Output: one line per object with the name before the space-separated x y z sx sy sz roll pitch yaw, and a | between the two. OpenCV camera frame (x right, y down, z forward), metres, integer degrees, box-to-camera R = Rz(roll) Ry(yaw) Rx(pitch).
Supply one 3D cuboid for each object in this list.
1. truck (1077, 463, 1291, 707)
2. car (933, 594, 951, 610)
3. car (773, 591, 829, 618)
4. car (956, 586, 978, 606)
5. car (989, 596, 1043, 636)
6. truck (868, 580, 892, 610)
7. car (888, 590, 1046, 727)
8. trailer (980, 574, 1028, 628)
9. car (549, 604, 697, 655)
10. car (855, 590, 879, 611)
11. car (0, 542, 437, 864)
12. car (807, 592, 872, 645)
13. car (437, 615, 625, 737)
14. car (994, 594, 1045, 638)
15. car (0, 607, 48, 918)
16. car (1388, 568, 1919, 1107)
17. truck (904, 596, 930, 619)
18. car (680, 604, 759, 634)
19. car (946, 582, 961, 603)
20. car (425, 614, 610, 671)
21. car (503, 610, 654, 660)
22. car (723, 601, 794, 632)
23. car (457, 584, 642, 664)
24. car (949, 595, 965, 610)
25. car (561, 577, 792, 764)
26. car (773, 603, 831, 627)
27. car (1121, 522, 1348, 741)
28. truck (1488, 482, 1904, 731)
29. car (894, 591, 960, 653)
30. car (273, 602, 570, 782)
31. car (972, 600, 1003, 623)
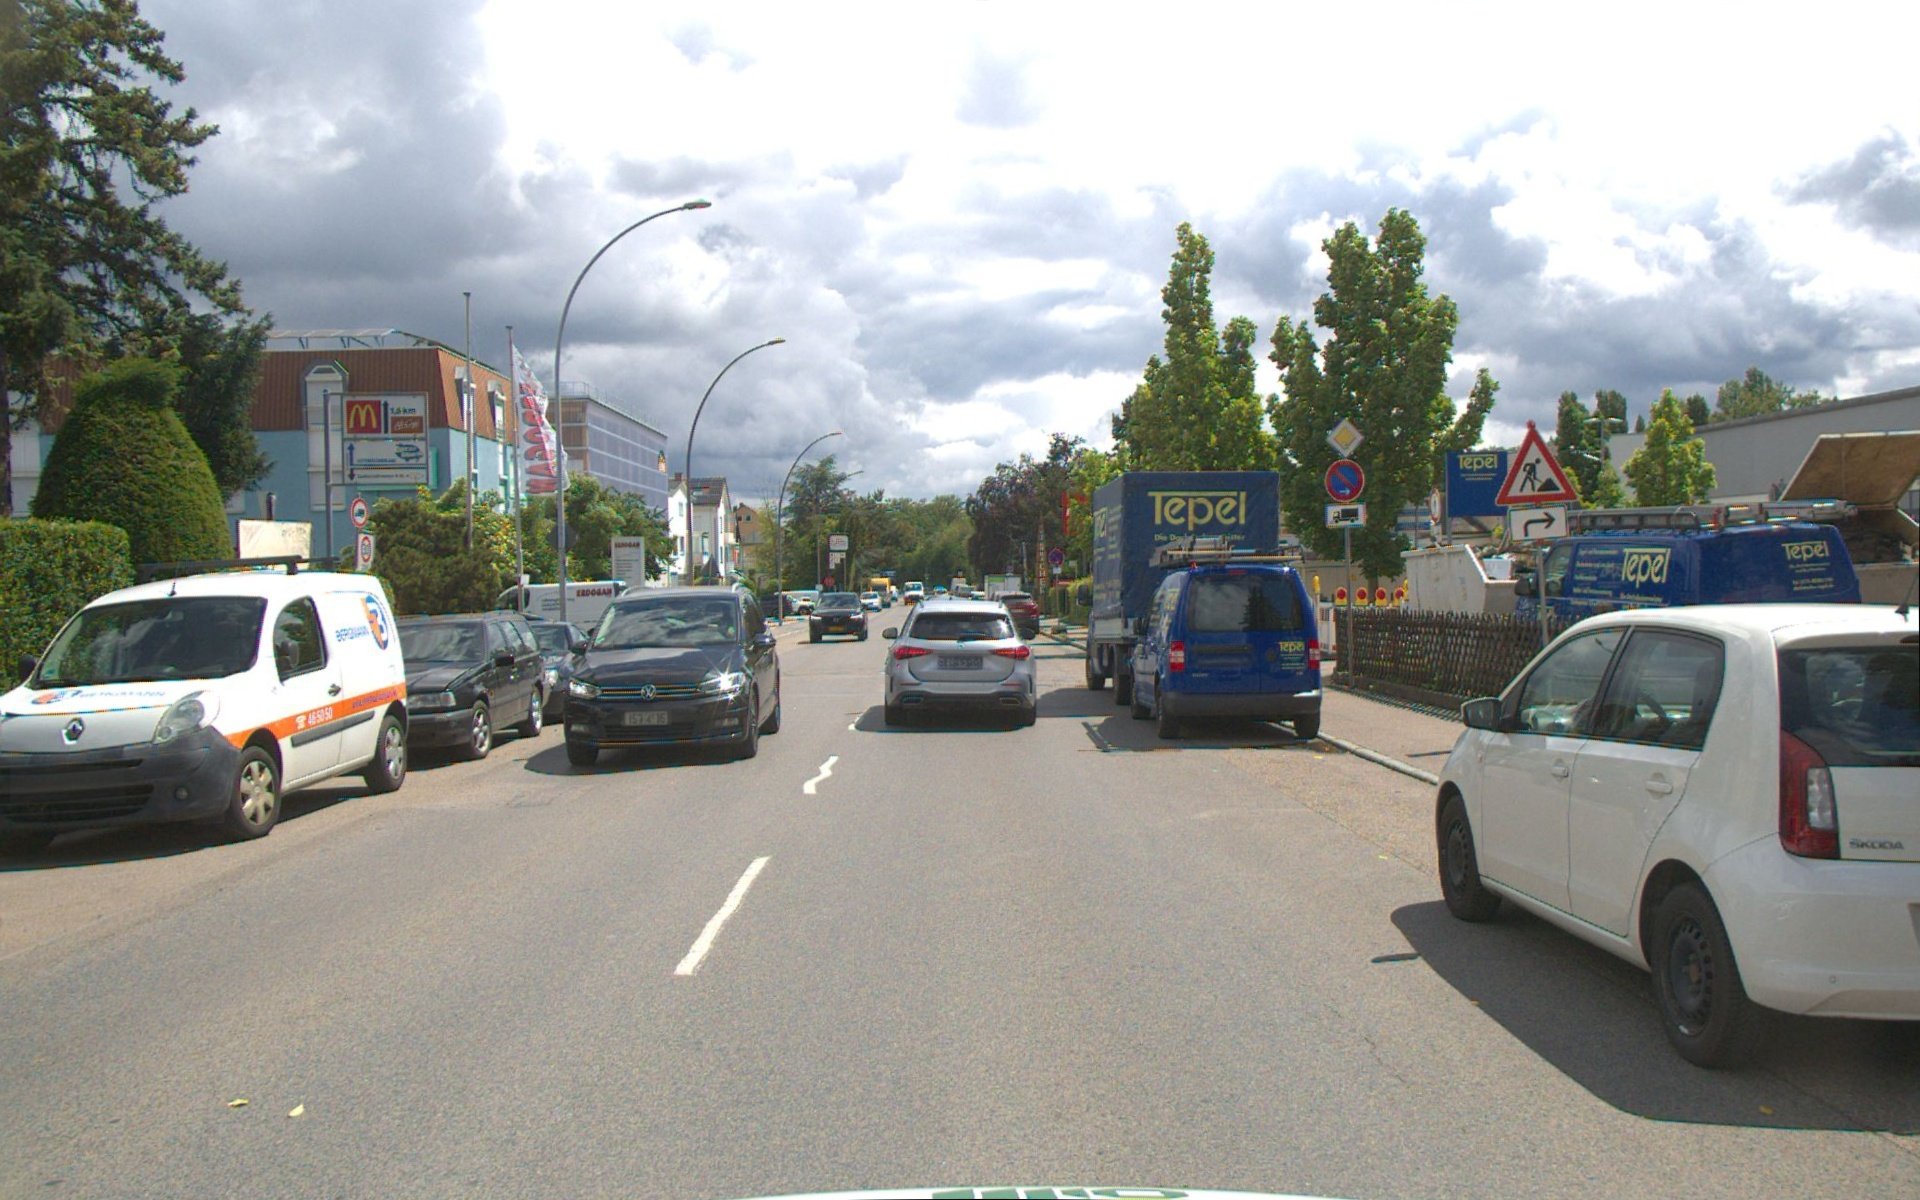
truck | 3.129 -0.215 24.544 2.273 3.151 6.041 1 0 -1
car | -1.821 0.169 168.956 1.720 1.585 3.999 -1 0 -2
car | -12.459 0.378 129.934 4.193 1.868 1.990 -2 -3 -2
car | 0.706 -0.391 170.729 2.100 2.018 5.260 -2 0 0
car | 2.330 0.648 69.776 1.903 1.599 4.443 -2 0 -3
truck | -8.153 -0.530 169.105 2.032 2.863 7.078 -2 1 0
car | -0.014 0.636 20.539 1.749 1.510 4.314 0 0 -3
trailer | 2.000 0.045 76.215 1.902 2.334 4.443 -2 0 -2
car | -10.709 0.933 52.777 4.285 1.504 1.871 -1 -1 -1
car | -7.620 0.042 135.351 1.755 1.631 4.362 -2 0 -1
car | -5.459 0.625 12.385 1.709 1.870 4.354 -4 1 -2
car | -4.103 0.601 56.749 1.953 1.644 4.410 -2 0 -2
car | -5.737 0.958 22.596 1.598 1.326 4.114 -4 1 -3
car | 2.309 0.606 64.846 1.901 1.599 4.446 -2 0 1
car | -5.473 0.871 6.469 1.607 1.512 3.998 -4 1 -2
car | 3.211 0.662 6.834 1.737 1.534 3.999 -2 0 -1
truck | -4.317 0.718 167.239 2.271 2.216 6.450 -2 0 1
car | -12.902 0.998 88.948 4.068 1.518 1.824 1 0 -5
car | -0.812 -0.901 208.077 1.749 2.562 4.314 0 0 -3
car | -10.461 0.992 39.348 3.907 1.225 1.871 1 0 -3
car | -10.979 0.999 47.787 3.907 1.338 1.870 -1 -1 -2
car | -13.644 1.106 112.065 4.537 1.661 2.196 -4 1 -4
car | -11.122 0.628 45.109 4.560 2.006 2.114 -1 0 -4
car | -0.326 0.321 196.140 1.749 1.745 4.314 0 0 -3
car | -2.766 0.608 17.031 1.708 1.656 4.355 -1 1 -1
car | -11.871 1.135 124.585 4.192 1.594 1.991 -2 -3 -1
car | 3.021 0.307 19.109 1.835 2.207 4.464 1 0 0
truck | 7.518 -0.020 17.636 1.793 2.117 5.384 -4 2 -2
car | -0.914 0.556 45.296 1.720 1.585 3.999 -1 0 -2
car | -5.559 0.854 17.720 1.709 1.497 4.642 -4 1 -2
car | 1.842 0.755 111.911 1.756 1.475 4.361 -2 0 -3
